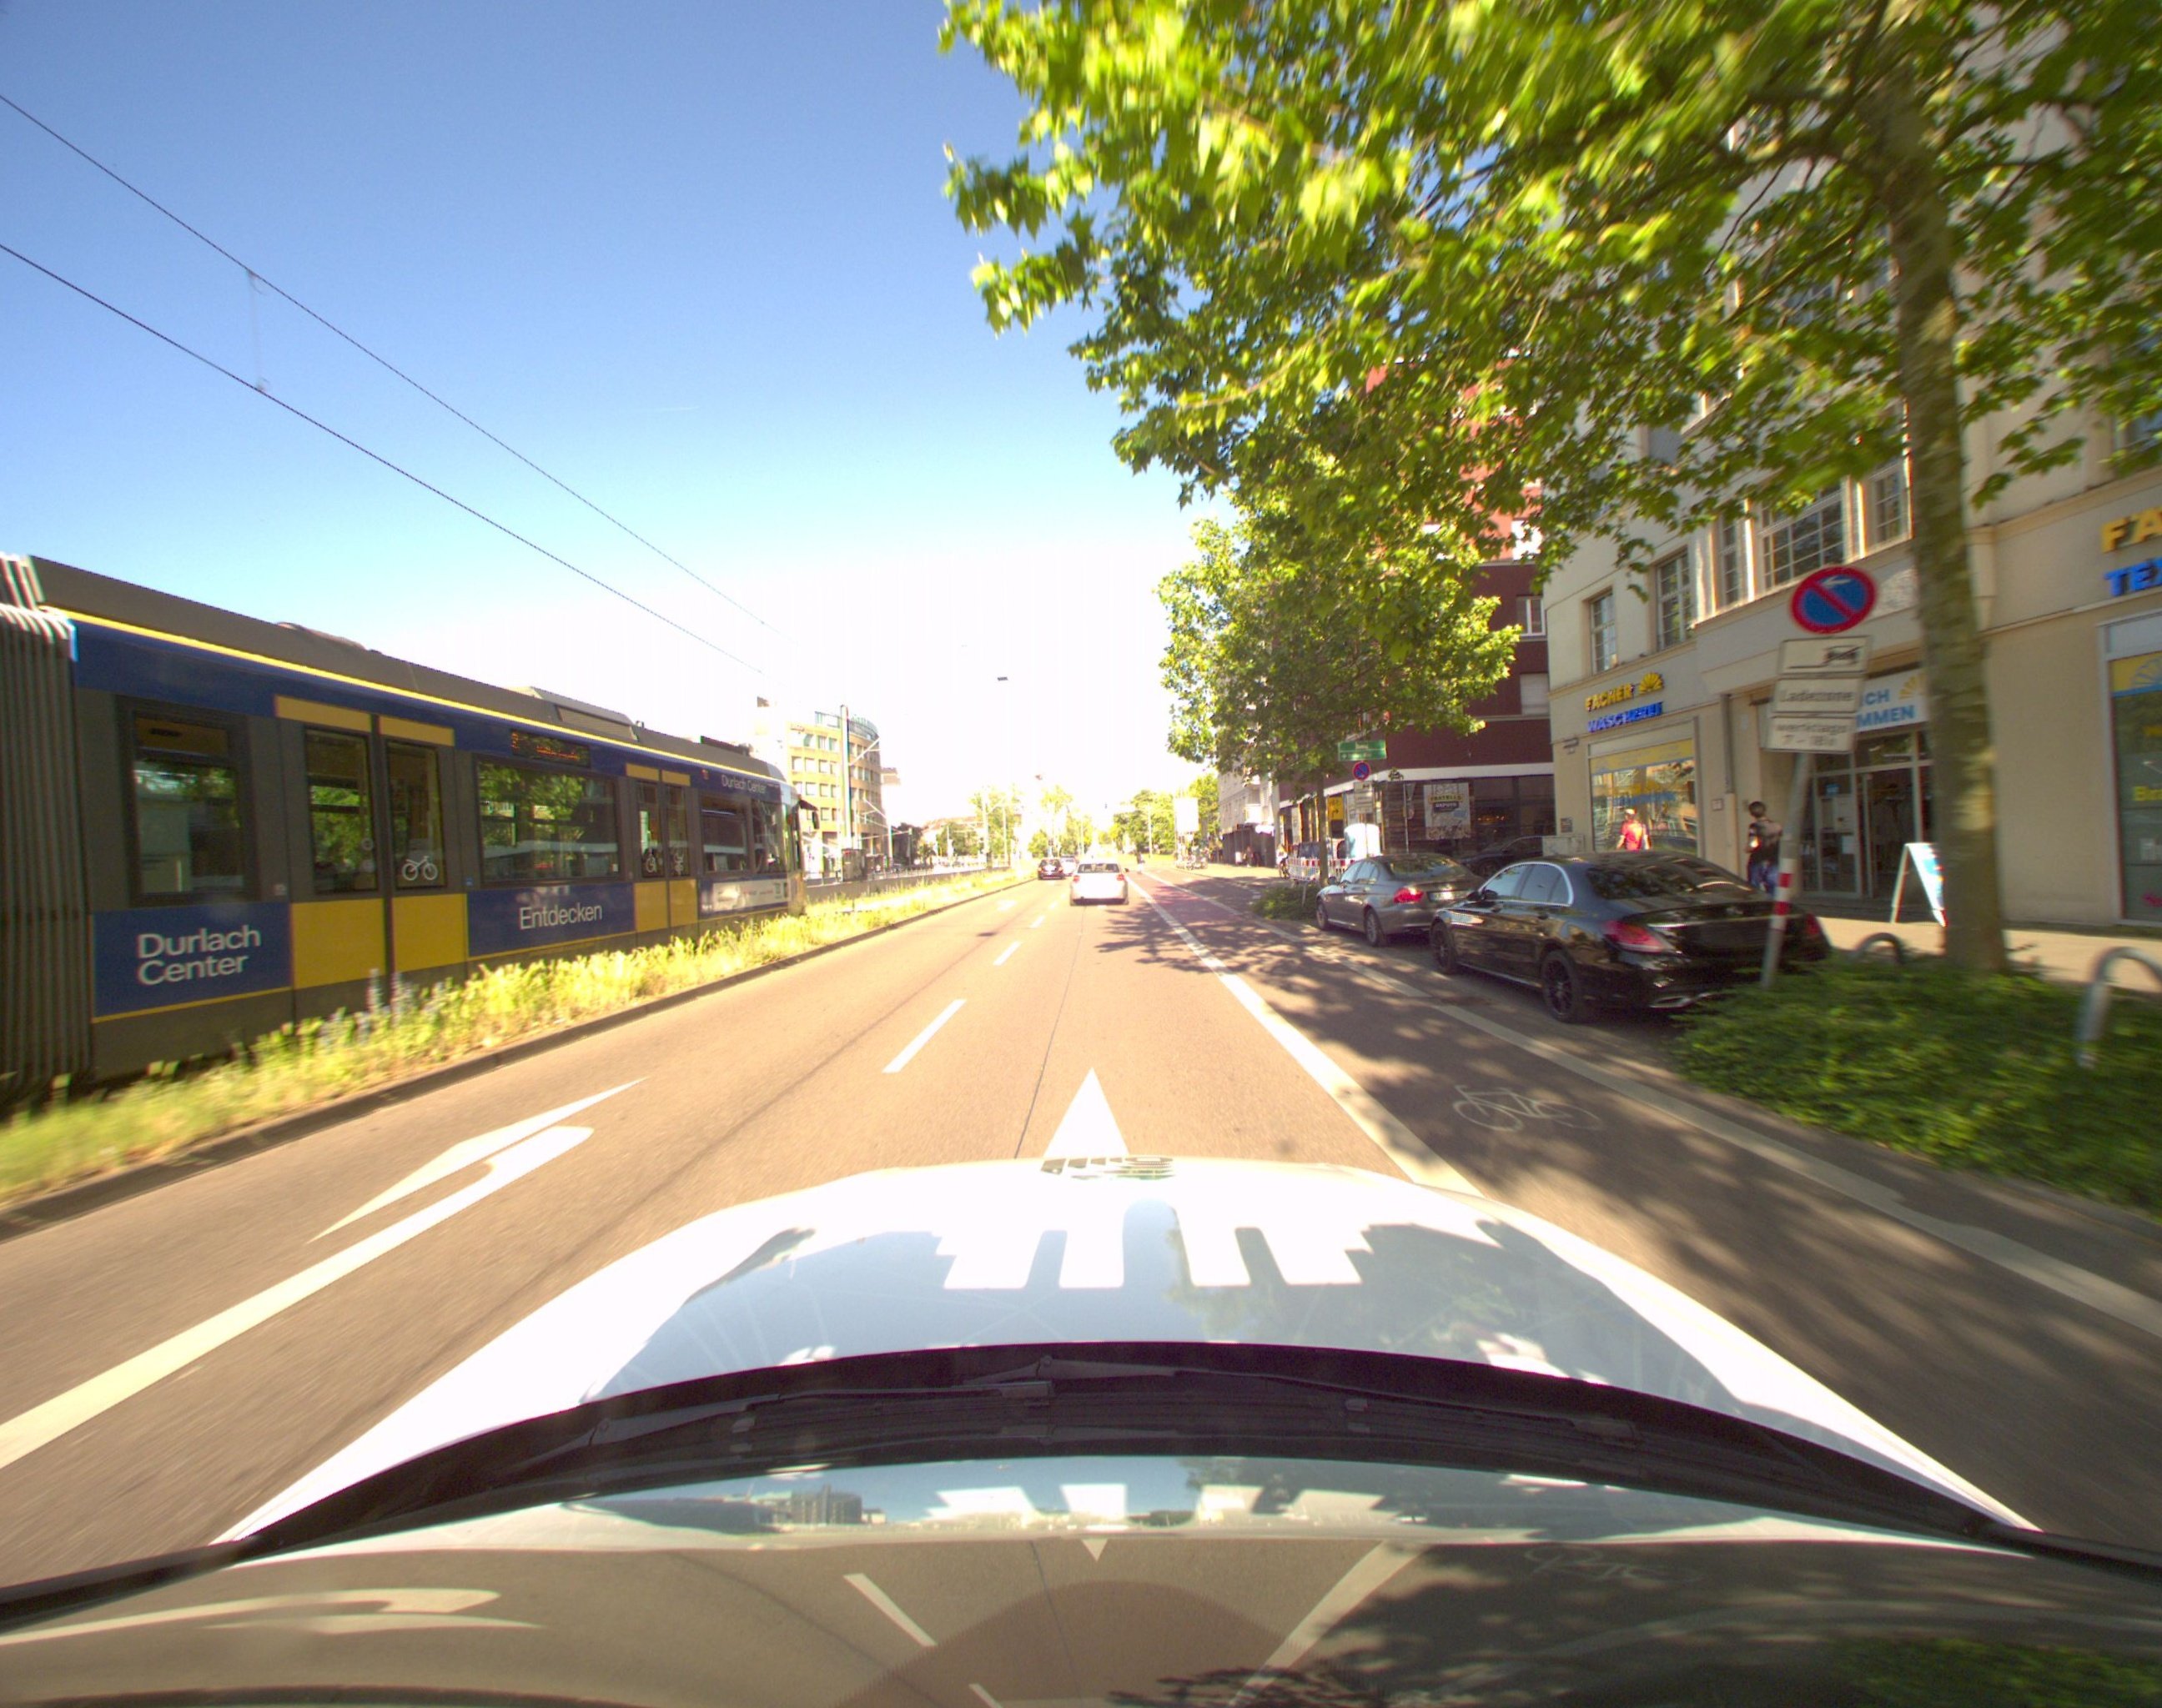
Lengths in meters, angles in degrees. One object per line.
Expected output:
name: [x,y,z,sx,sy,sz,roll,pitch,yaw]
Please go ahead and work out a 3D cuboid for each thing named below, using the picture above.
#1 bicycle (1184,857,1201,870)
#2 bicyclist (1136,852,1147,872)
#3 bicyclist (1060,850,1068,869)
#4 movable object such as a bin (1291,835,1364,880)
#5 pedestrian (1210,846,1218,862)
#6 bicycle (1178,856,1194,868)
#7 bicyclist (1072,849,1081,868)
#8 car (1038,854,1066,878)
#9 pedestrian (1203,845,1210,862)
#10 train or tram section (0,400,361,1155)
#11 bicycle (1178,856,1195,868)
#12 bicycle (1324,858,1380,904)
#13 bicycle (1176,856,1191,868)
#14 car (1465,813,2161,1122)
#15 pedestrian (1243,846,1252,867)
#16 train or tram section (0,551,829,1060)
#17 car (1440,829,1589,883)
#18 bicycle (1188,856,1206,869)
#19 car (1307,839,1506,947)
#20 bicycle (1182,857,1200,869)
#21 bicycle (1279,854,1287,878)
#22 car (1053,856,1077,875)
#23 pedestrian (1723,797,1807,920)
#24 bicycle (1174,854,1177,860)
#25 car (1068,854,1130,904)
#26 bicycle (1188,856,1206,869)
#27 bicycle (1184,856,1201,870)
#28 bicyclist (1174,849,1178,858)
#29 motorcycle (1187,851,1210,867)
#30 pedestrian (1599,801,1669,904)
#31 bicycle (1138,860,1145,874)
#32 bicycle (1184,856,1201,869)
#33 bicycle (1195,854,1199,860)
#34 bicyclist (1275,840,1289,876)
bicycle: [9.817,0.800,71.552,1.459,1.067,0.257,-3,-1,3]
bicyclist: [4.690,0.604,62.947,0.782,1.531,0.895,0,-1,1]
bicyclist: [-1.402,0.477,68.098,0.614,1.572,0.687,0,-1,3]
movable object such as a bin: [10.783,0.124,35.834,1.942,1.843,3.475,-2,1,-4]
pedestrian: [15.484,0.013,94.760,0.819,1.856,0.921,0,-1,16]
bicycle: [9.916,0.730,76.960,1.459,1.067,0.257,-3,-1,3]
bicyclist: [-0.363,0.413,68.312,0.616,1.571,0.684,-1,0,-10]
car: [-1.898,0.788,54.502,1.721,1.470,4.408,-1,0,-1]
pedestrian: [14.411,-0.039,93.629,0.786,2.014,0.872,0,-1,8]
train or tram section: [-7.044,-0.390,4.311,2.945,3.897,3.866,0,-1,1]
bicycle: [9.918,0.737,76.634,1.459,1.067,0.257,-3,-1,3]
bicycle: [7.242,0.700,21.879,0.579,1.162,2.233,0,0,-6]
bicycle: [10.015,0.758,79.507,1.459,1.067,0.257,-3,-1,3]
car: [5.068,0.561,6.379,2.031,1.509,4.595,-2,0,2]
pedestrian: [12.789,0.190,62.702,0.570,1.582,0.557,-1,0,3]
train or tram section: [-6.843,-0.344,11.632,2.942,3.897,10.804,0,0,1]
car: [15.524,0.097,29.349,4.283,1.788,1.995,-1,-2,1]
bicycle: [9.842,0.721,69.102,1.459,1.067,0.257,-3,-1,3]
car: [5.387,0.575,14.159,1.782,1.555,4.437,-1,0,2]
bicycle: [9.795,0.795,72.595,1.459,1.067,0.257,-3,-1,3]
bicycle: [9.616,0.544,38.789,0.315,1.085,1.691,-2,0,14]
car: [-1.199,0.883,62.605,1.638,1.421,4.001,-1,0,2]
pedestrian: [9.944,0.063,11.864,0.556,1.711,0.770,-1,0,1]
bicycle: [14.139,0.417,121.593,0.350,0.958,1.574,0,0,3]
car: [0.559,0.738,25.818,1.792,1.415,4.000,-1,0,1]
bicycle: [9.862,0.738,69.473,1.459,1.067,0.257,-3,-1,3]
bicycle: [9.680,0.782,70.710,1.459,1.067,0.257,-3,-1,3]
bicyclist: [14.179,-0.085,121.676,0.614,1.380,0.687,0,-1,3]
motorcycle: [9.717,0.428,67.566,1.846,1.301,0.653,-1,0,4]
pedestrian: [10.694,-0.026,15.776,0.711,1.900,0.863,-2,-1,1]
bicycle: [4.677,1.015,62.944,0.497,1.088,1.998,0,0,2]
bicycle: [9.827,0.782,71.925,1.459,1.067,0.257,-3,-1,3]
bicycle: [17.527,0.441,122.954,0.415,1.008,1.945,0,0,1]
bicyclist: [9.578,0.208,38.817,0.597,1.690,0.599,-2,0,12]
